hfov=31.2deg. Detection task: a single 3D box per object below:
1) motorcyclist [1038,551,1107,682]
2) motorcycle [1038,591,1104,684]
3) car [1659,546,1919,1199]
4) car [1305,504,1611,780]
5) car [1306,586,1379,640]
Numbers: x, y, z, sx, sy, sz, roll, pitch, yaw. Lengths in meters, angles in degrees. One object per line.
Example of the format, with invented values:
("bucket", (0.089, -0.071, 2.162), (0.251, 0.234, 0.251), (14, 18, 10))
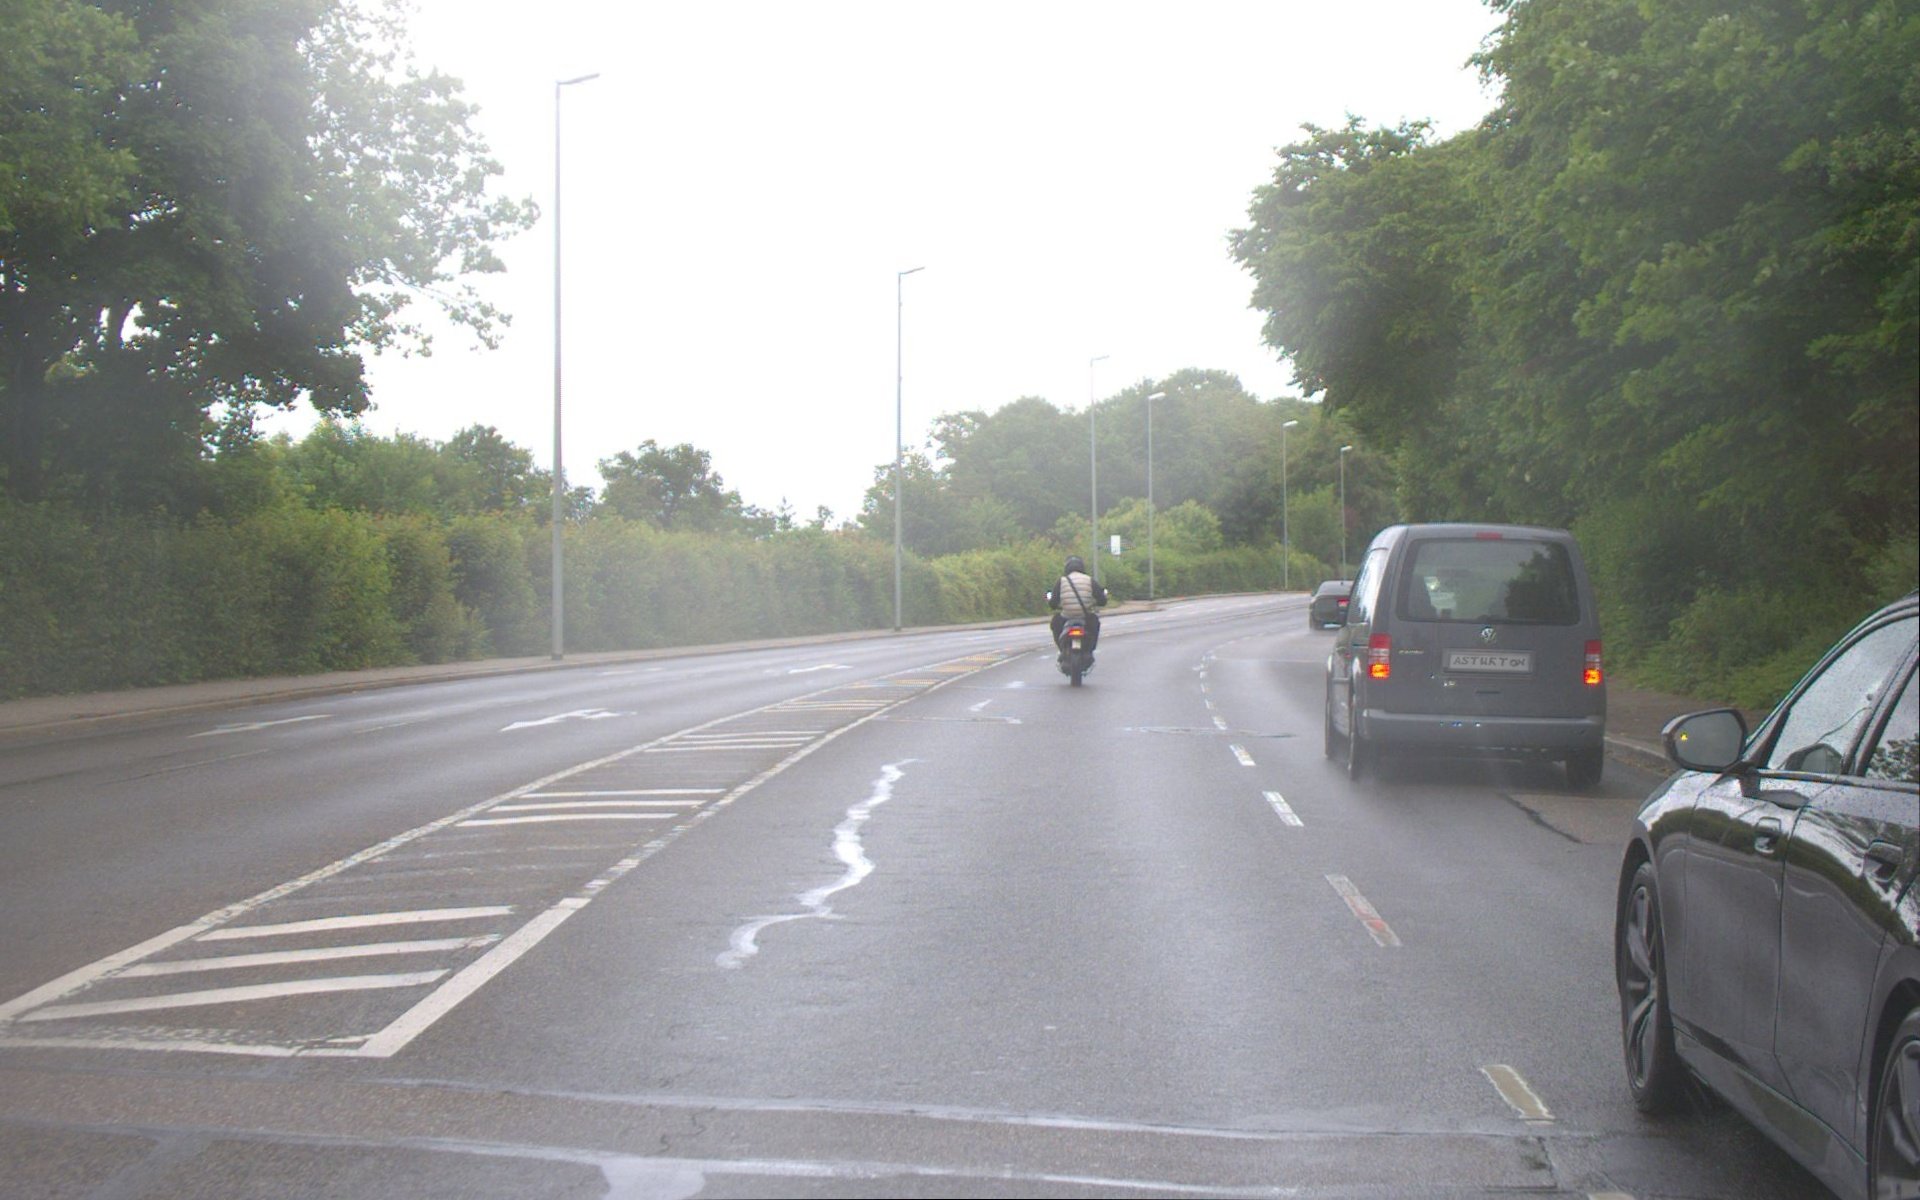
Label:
("motorcyclist", (1.430, 0.203, 43.614), (0.845, 1.641, 0.468), (0, 1, 5))
("motorcycle", (1.415, 0.470, 43.755), (0.741, 1.115, 1.426), (1, 2, 5))
("car", (2.637, 0.667, 7.045), (1.764, 1.531, 3.673), (1, 1, 2))
("car", (3.535, 0.229, 25.023), (1.767, 1.803, 3.905), (1, 2, 2))
("car", (11.406, 0.357, 102.333), (2.015, 1.410, 4.485), (1, 2, 8))
